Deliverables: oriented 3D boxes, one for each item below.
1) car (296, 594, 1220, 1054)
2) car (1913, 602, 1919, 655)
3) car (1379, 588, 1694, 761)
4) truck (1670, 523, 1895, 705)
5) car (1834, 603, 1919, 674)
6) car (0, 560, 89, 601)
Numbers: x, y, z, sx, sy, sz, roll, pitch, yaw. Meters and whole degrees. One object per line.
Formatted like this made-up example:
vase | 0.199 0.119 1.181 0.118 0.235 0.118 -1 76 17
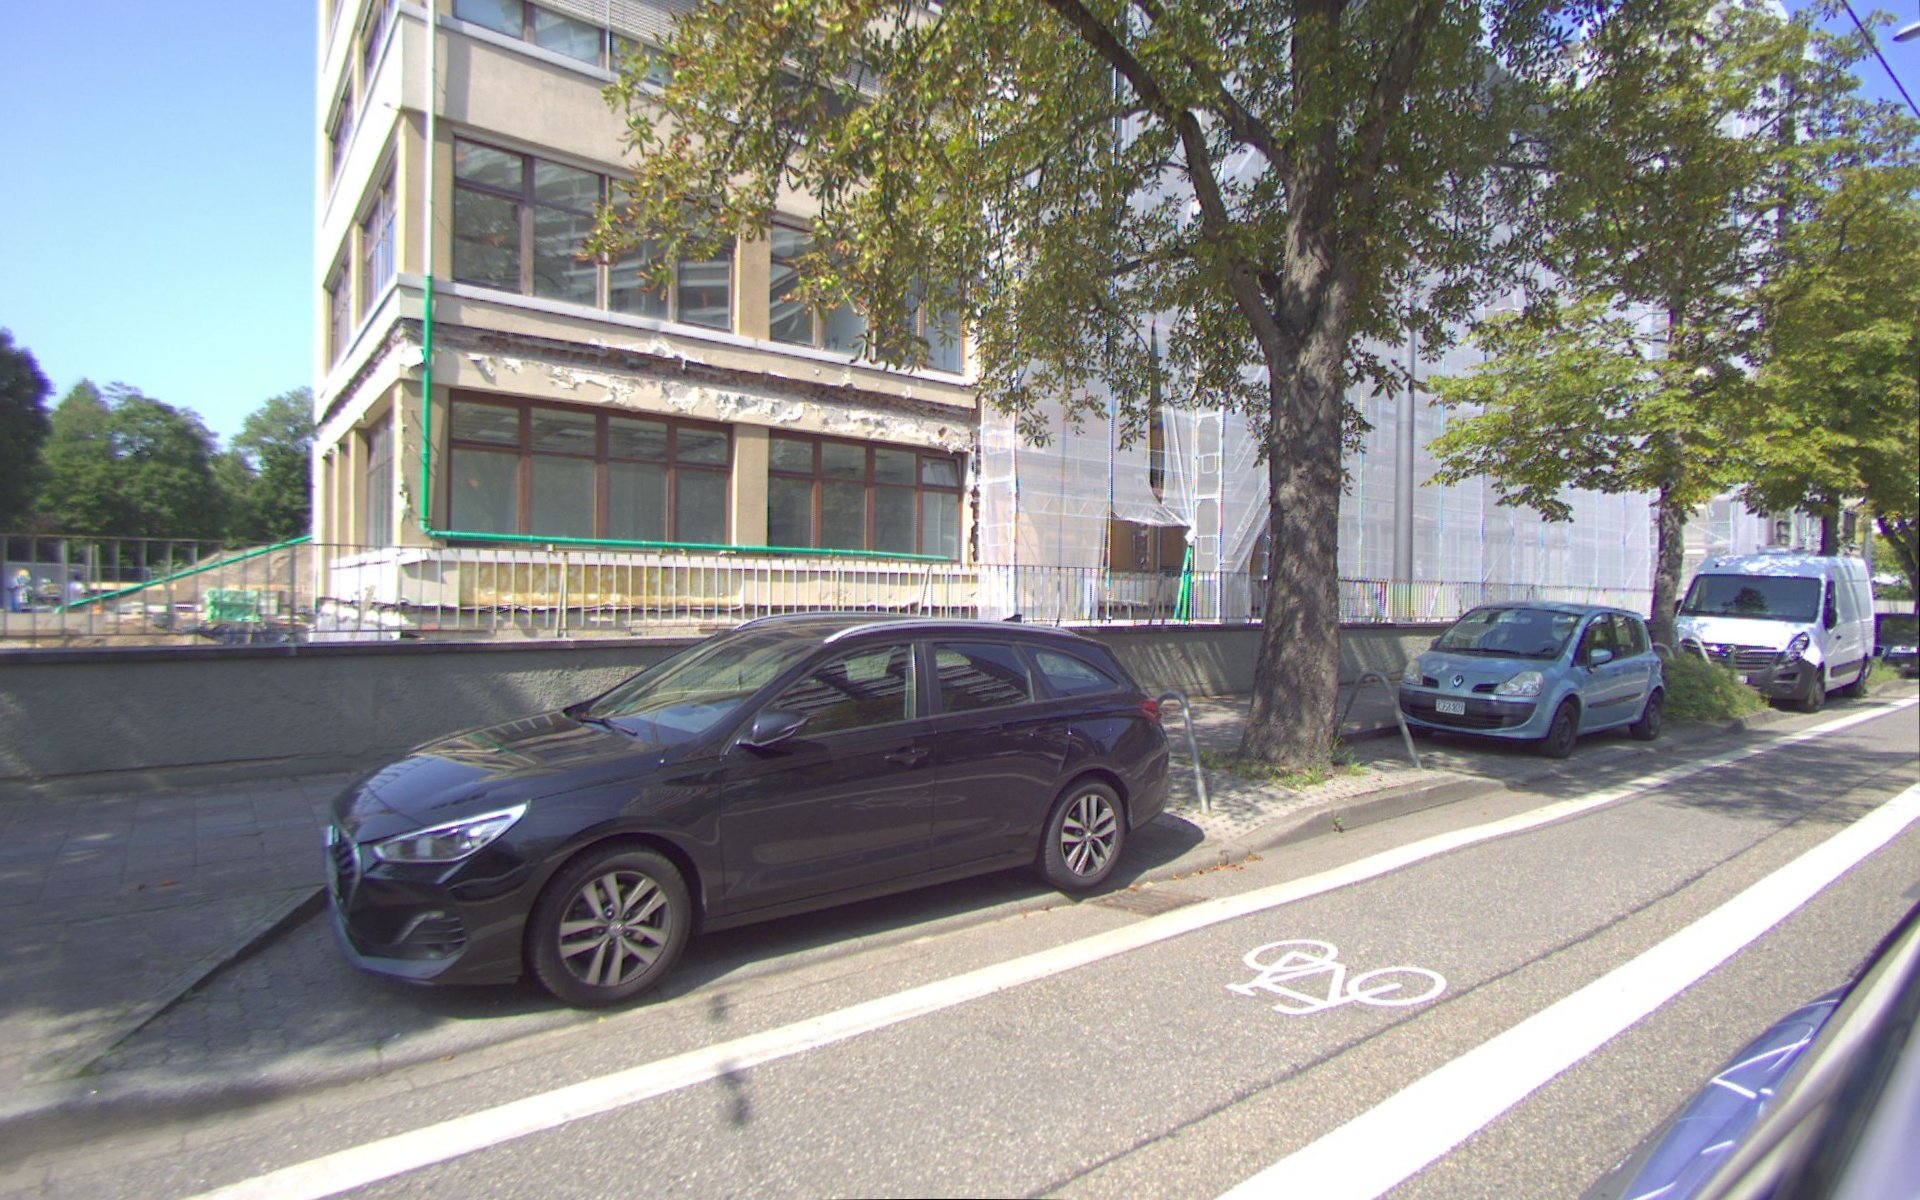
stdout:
car | -0.737 0.740 5.407 4.578 1.476 1.678 0 1 -38
car | 29.836 0.831 30.055 4.057 1.519 1.689 0 0 -39
car | 6.676 0.690 11.559 4.095 1.599 1.679 0 2 -38
truck | 14.081 0.189 17.187 5.492 2.632 1.921 0 0 -39
car | 21.865 0.826 23.350 4.715 1.458 1.689 0 0 -38
car | -36.952 -0.772 39.819 3.839 1.547 1.879 1 0 2
